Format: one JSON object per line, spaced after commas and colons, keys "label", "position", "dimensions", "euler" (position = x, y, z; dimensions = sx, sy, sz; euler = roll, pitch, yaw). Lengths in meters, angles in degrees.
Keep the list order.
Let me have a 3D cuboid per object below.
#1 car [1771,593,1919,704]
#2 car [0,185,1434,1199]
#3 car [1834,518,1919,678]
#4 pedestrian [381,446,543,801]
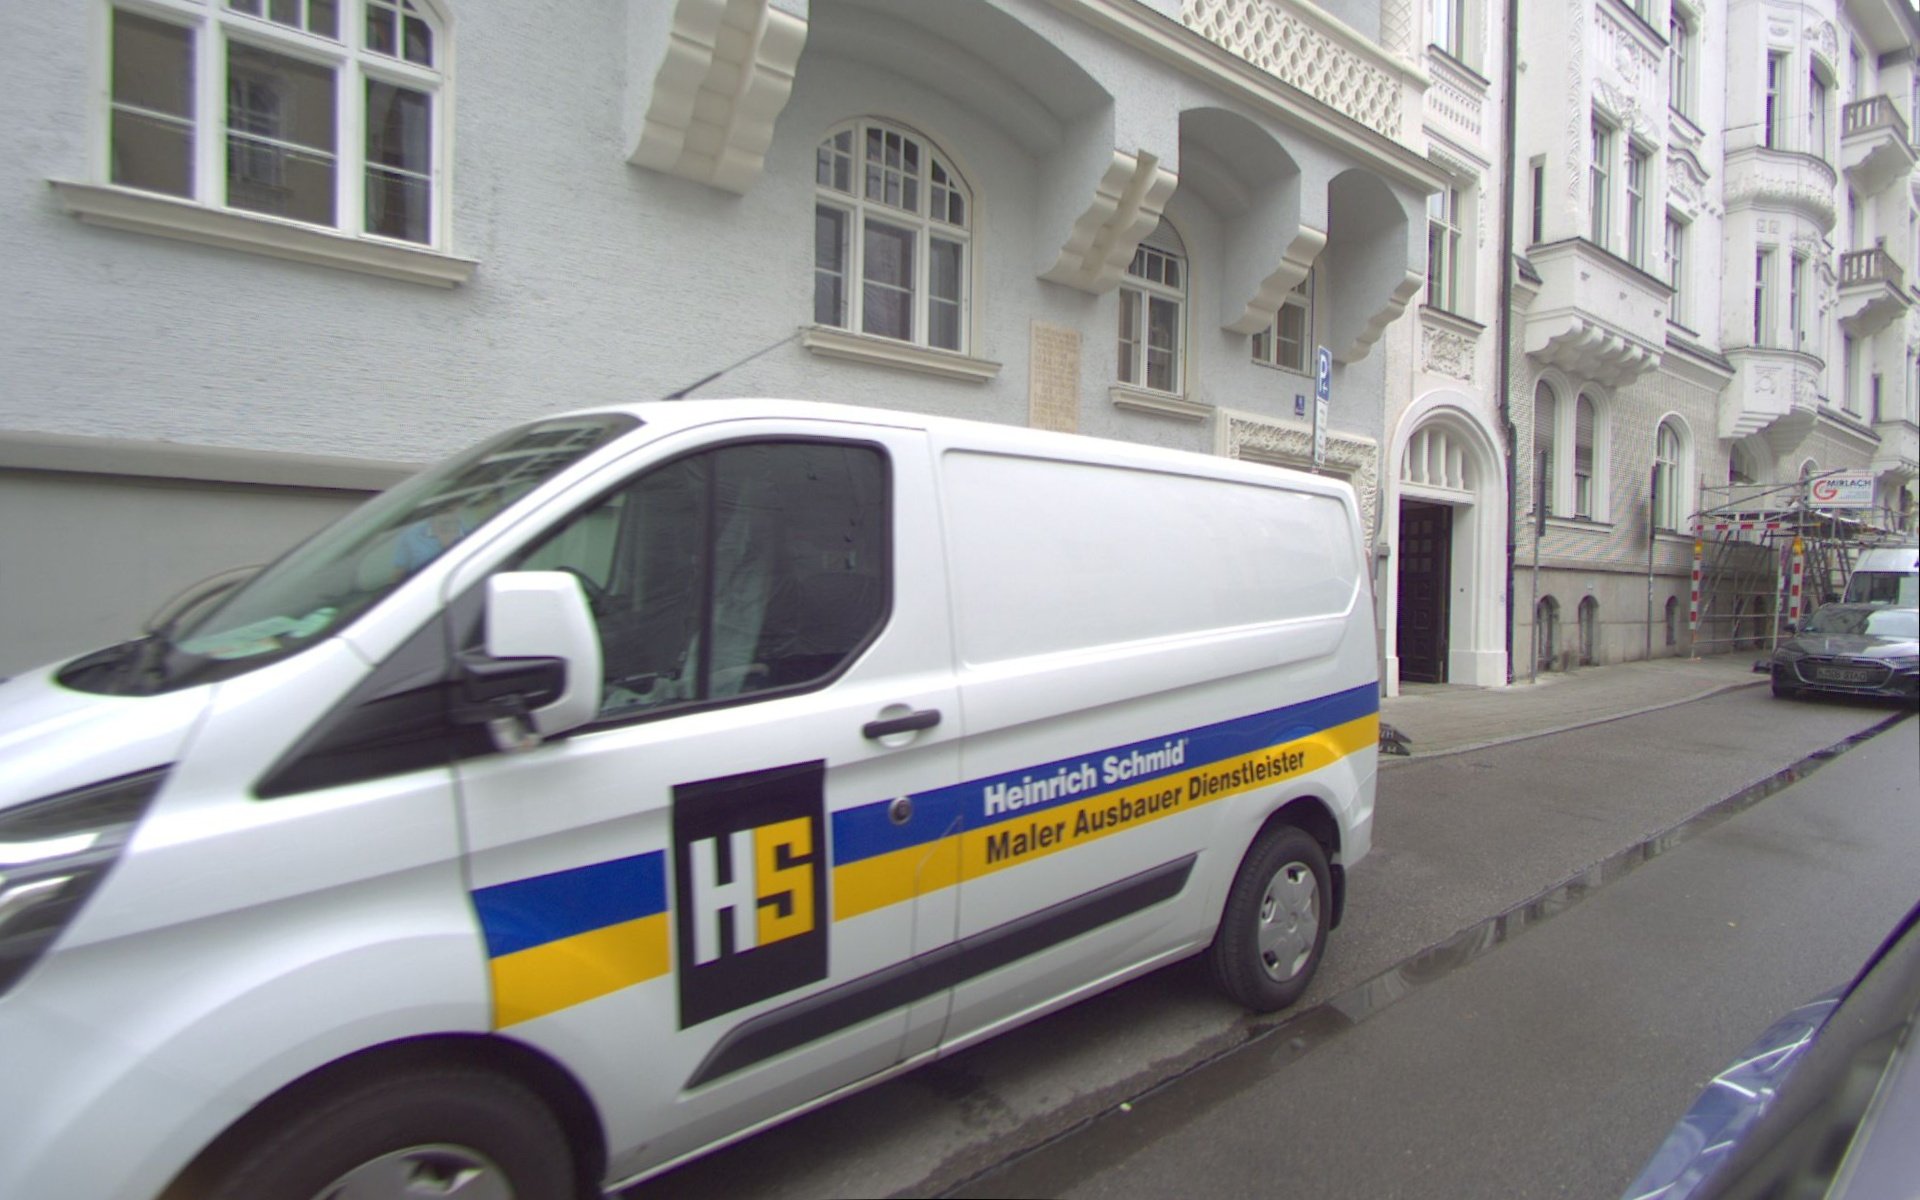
{"label": "car", "position": [13.844, 0.632, 15.168], "dimensions": [4.168, 1.425, 1.792], "euler": [0, 2, -39]}
{"label": "car", "position": [-0.485, 0.392, 3.365], "dimensions": [4.794, 1.942, 1.997], "euler": [0, 2, -42]}
{"label": "car", "position": [18.416, -0.050, 18.935], "dimensions": [5.346, 2.721, 2.083], "euler": [0, 3, -39]}
{"label": "pedestrian", "position": [-2.987, 0.116, 6.046], "dimensions": [0.732, 1.926, 0.854], "euler": [0, 1, -35]}
